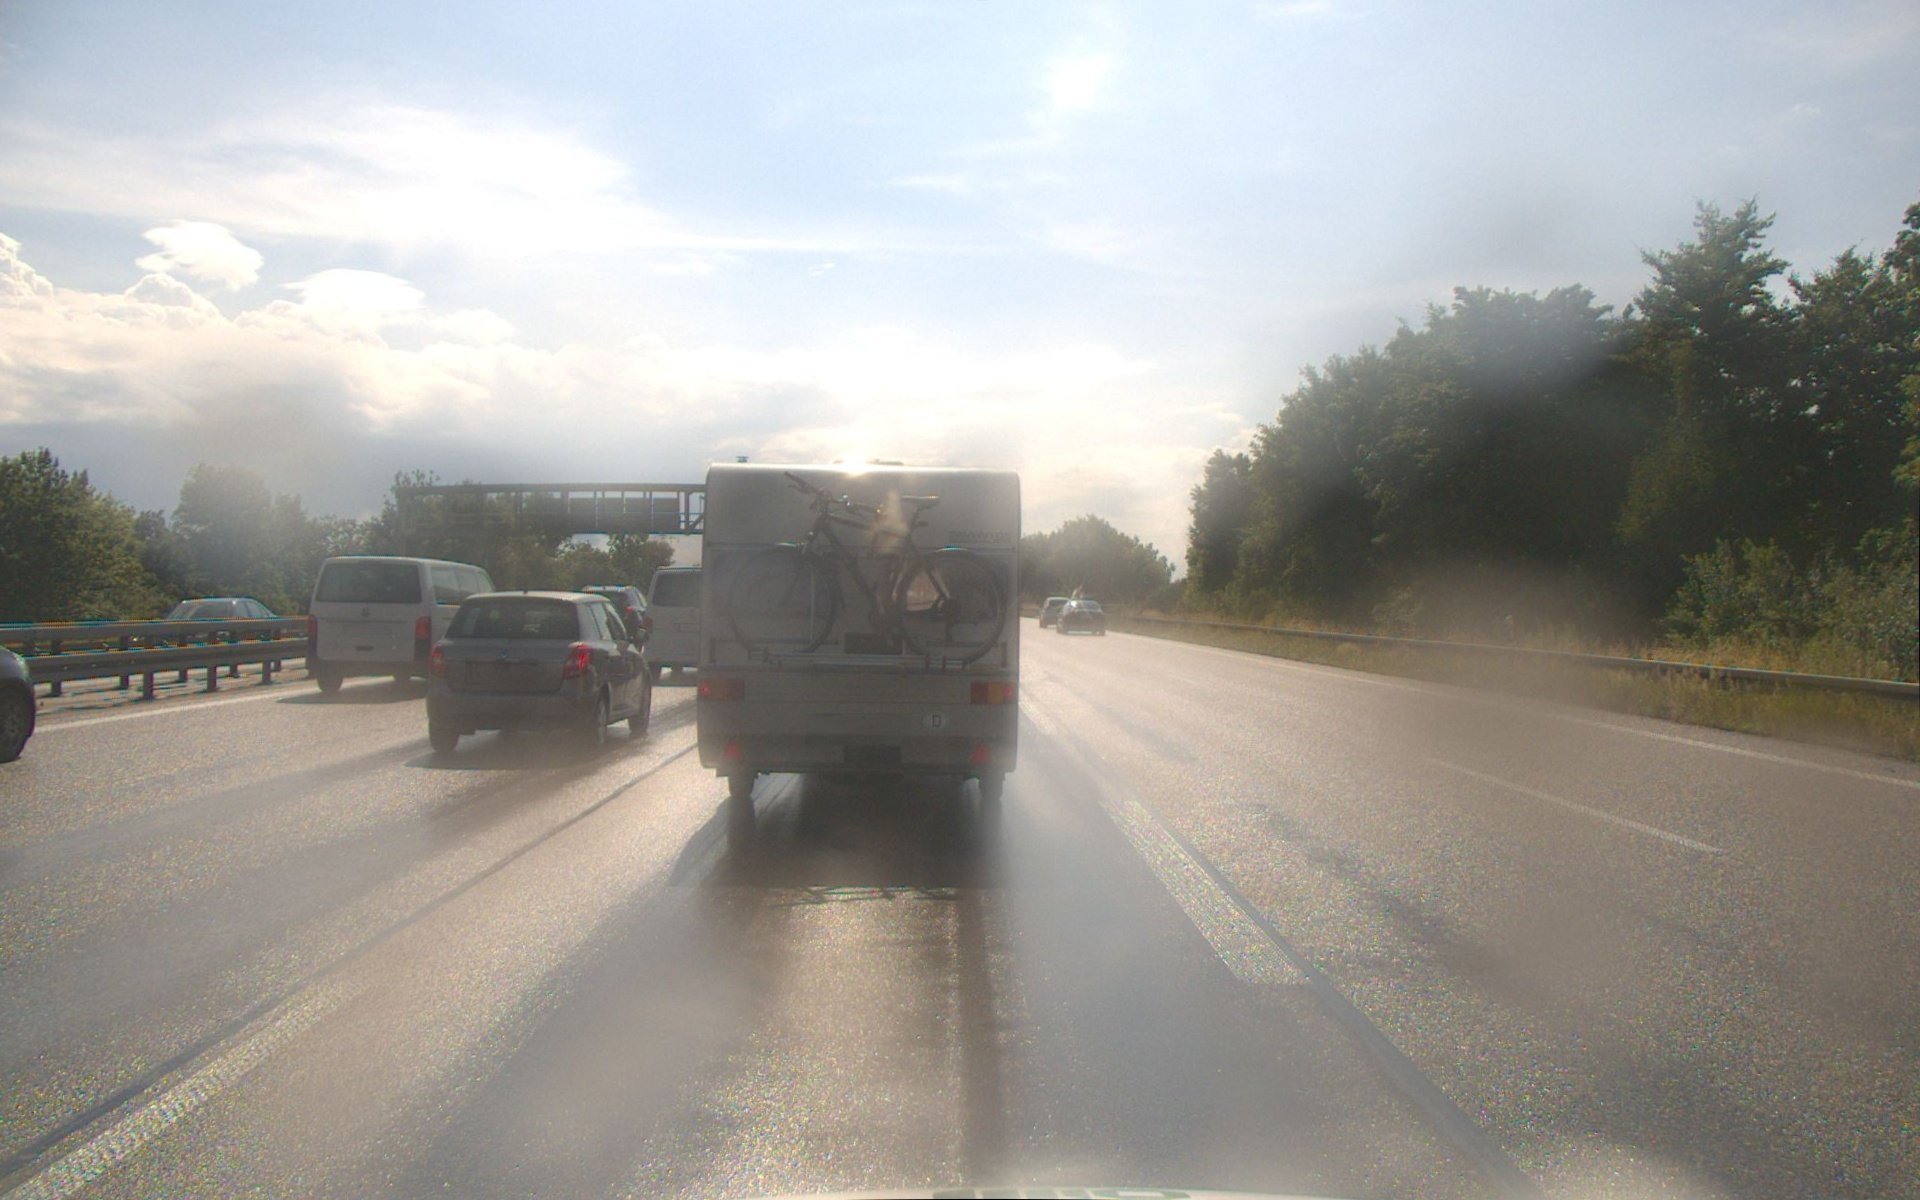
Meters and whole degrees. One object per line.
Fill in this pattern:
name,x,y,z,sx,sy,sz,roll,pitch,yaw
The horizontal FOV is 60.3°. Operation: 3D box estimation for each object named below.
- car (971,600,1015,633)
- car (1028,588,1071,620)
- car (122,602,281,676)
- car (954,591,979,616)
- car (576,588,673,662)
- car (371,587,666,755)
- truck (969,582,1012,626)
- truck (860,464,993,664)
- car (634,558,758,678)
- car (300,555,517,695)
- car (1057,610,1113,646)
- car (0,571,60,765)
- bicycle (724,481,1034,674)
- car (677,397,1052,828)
car,1.596,0.801,81.054,1.799,1.585,3.997,1,0,-4
car,4.916,0.221,91.181,1.840,1.657,3.996,1,0,-5
car,-16.390,0.808,35.937,1.644,1.489,3.999,1,0,-1
car,0.409,0.241,113.780,1.684,1.713,4.000,1,0,0
car,-8.067,0.582,40.108,1.736,1.691,3.997,1,0,-4
car,-4.277,0.628,16.674,1.947,1.483,3.826,1,0,0
truck,1.780,0.231,97.690,2.366,2.486,6.052,1,0,0
truck,-0.968,-0.845,44.377,3.083,4.707,10.731,1,0,-2
car,-4.811,0.318,30.638,1.839,2.049,3.997,1,0,-4
car,-8.444,0.346,25.807,1.810,1.967,5.014,1,0,-2
car,5.565,1.219,74.013,1.840,1.521,3.996,1,0,-5
car,-8.777,0.557,12.603,1.747,1.606,3.915,1,0,-1
bicycle,-0.497,-0.136,10.401,1.894,1.161,0.384,1,-1,-1
car,-0.620,0.088,12.600,2.361,2.721,3.999,1,0,0
